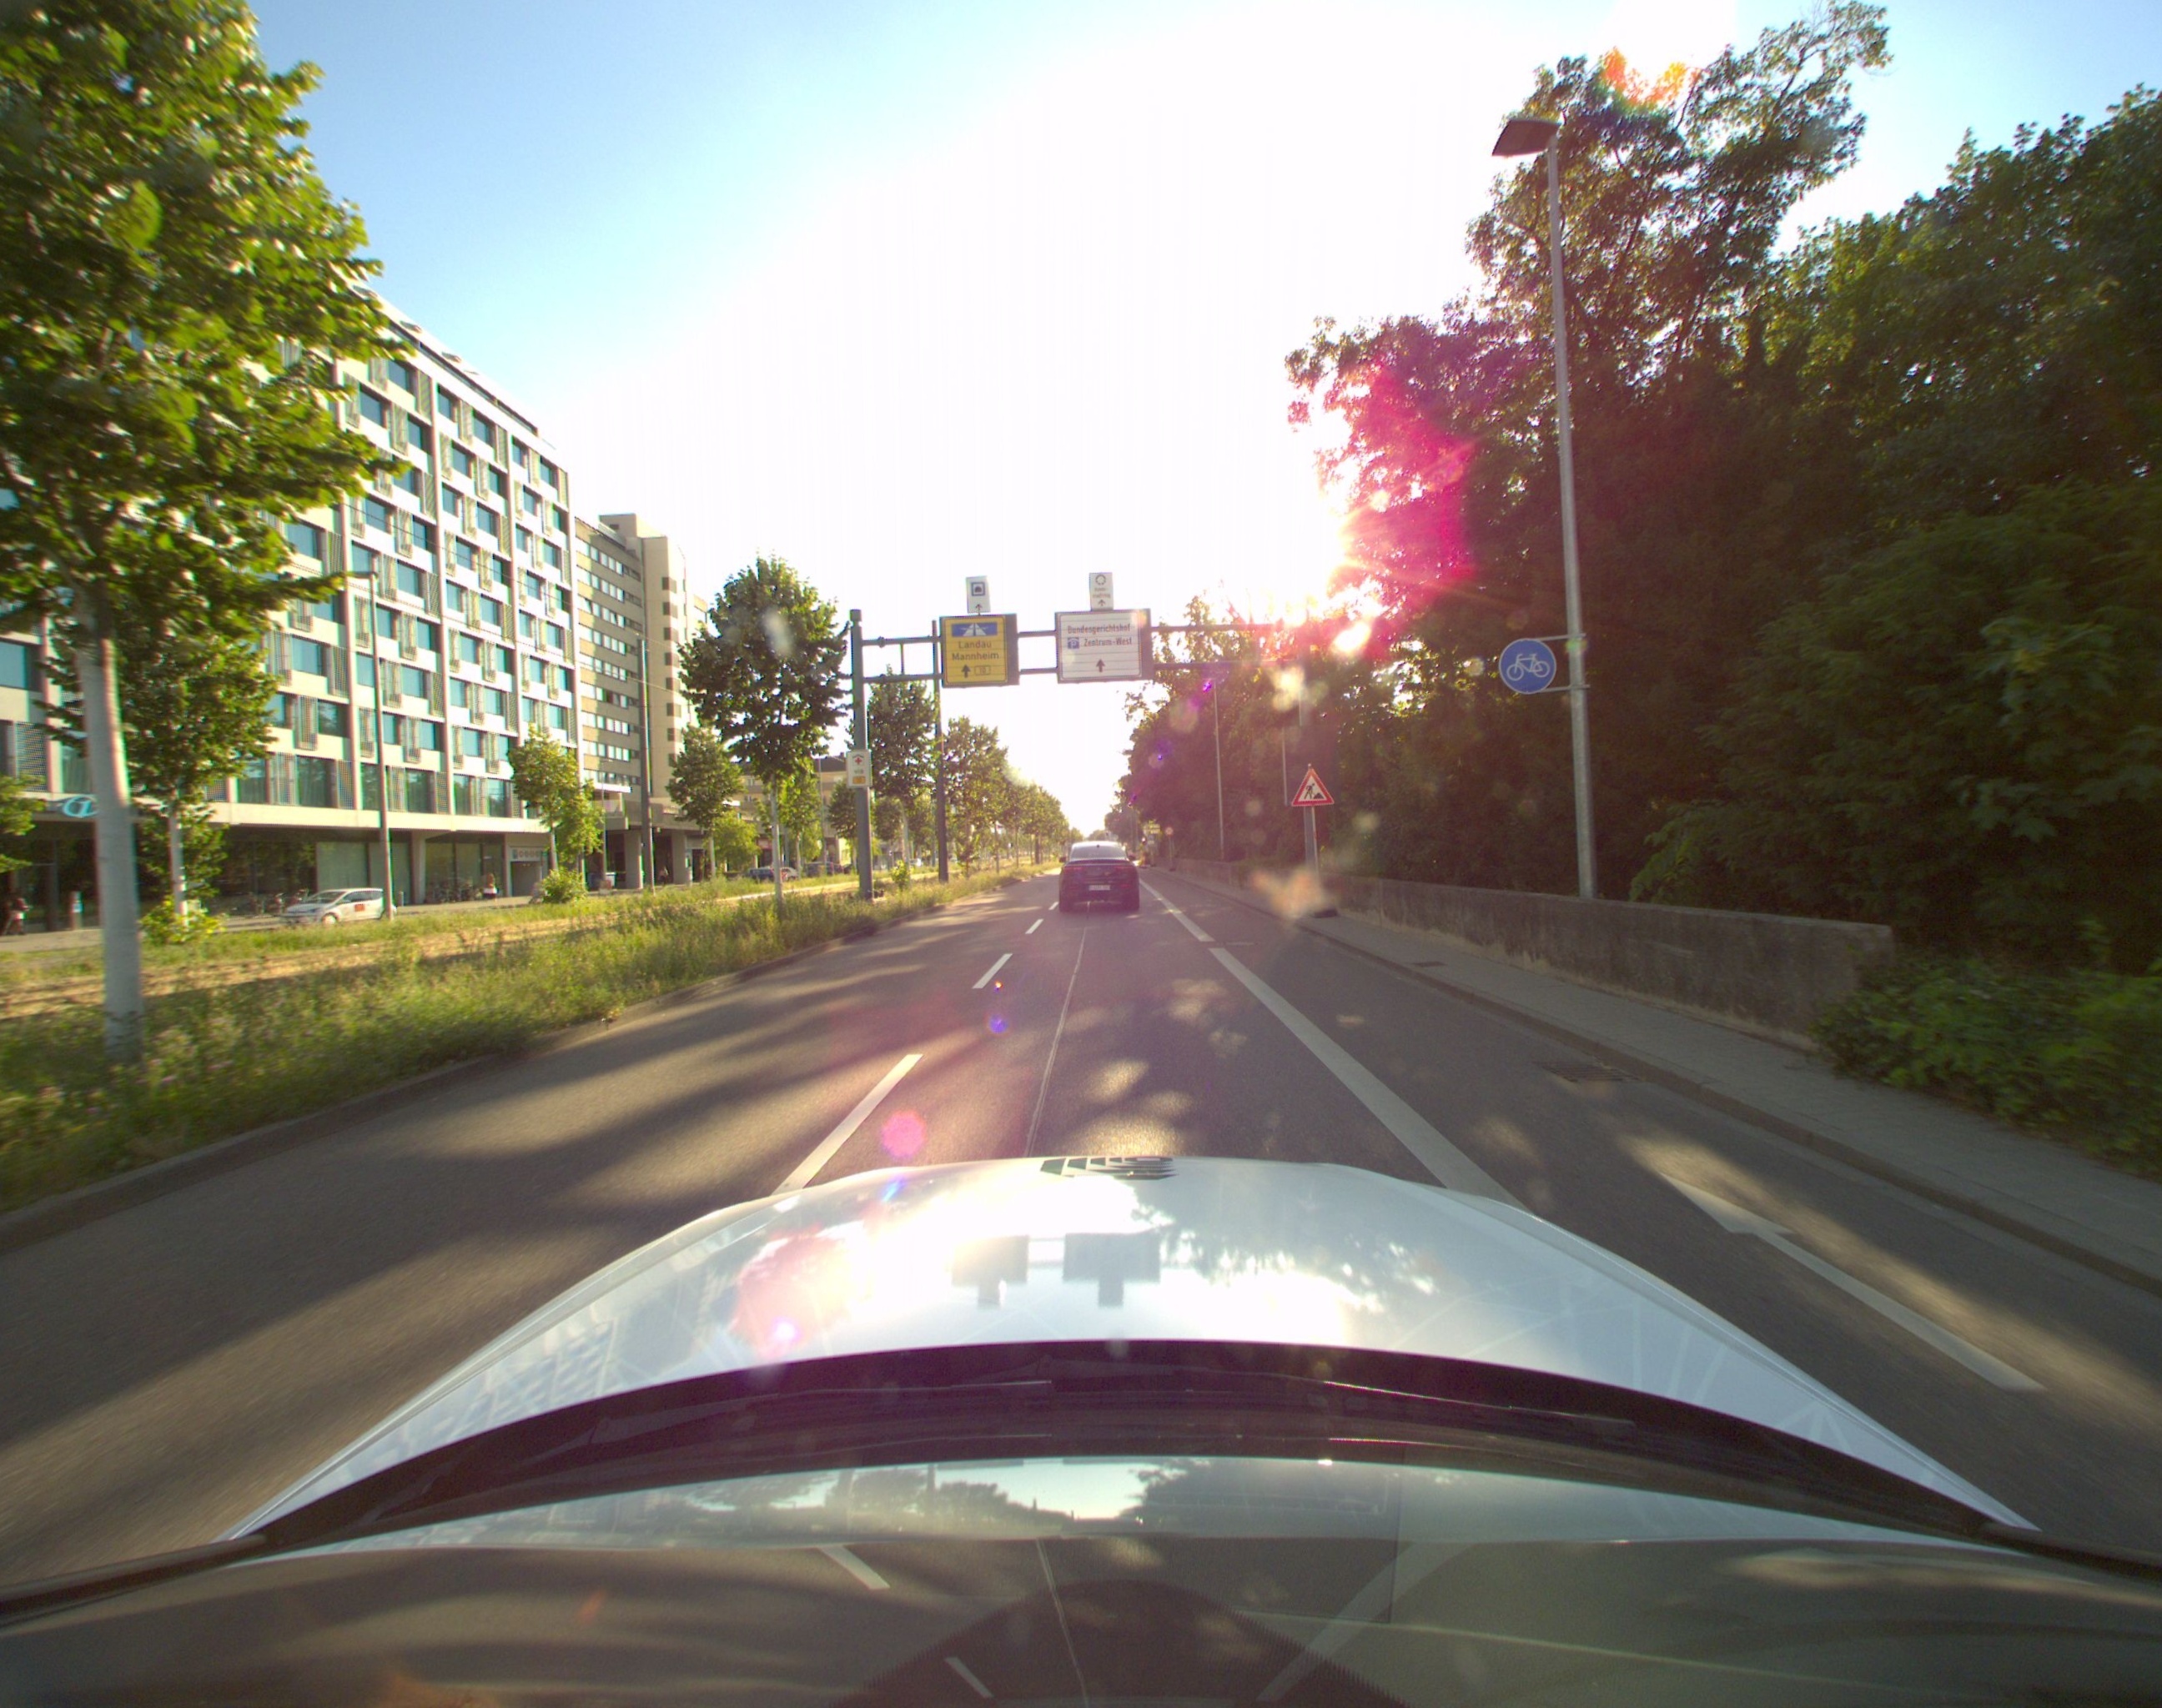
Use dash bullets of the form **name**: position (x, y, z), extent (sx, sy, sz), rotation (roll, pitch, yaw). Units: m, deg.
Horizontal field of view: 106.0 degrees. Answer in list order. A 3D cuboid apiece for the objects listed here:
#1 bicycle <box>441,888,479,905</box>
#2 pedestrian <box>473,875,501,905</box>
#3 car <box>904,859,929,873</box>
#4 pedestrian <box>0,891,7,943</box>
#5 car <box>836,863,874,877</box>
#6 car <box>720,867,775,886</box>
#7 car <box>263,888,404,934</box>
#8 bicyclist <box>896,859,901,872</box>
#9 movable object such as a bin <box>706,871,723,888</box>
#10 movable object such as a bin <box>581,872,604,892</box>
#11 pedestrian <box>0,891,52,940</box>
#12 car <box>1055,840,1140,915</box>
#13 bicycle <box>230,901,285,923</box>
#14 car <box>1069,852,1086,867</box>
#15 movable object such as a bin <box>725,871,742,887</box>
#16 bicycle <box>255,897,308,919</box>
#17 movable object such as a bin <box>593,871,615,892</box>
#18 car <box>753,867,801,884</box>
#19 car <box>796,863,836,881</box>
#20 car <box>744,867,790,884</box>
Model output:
- **bicycle**: position (-36.597, 2.493, 48.021), extent (1.799, 0.905, 0.511), rotation (-3, 0, -2)
- **pedestrian**: position (-35.069, 2.113, 48.117), extent (0.840, 1.653, 0.971), rotation (-2, 0, 3)
- **car**: position (-21.482, 1.559, 106.570), extent (1.877, 1.689, 5.094), rotation (-2, 0, 3)
- **pedestrian**: position (-39.661, 2.300, 29.389), extent (0.959, 1.870, 0.985), rotation (-2, 0, 34)
- **car**: position (-27.448, 1.905, 98.826), extent (4.021, 1.563, 1.976), rotation (-1, 0, -40)
- **car**: position (-29.371, 1.968, 71.790), extent (4.117, 1.601, 1.730), rotation (0, 0, -39)
- **car**: position (-29.795, 2.240, 32.635), extent (1.878, 1.492, 3.876), rotation (-2, 0, 3)
- **bicyclist**: position (-25.168, 1.561, 112.468), extent (0.538, 1.788, 0.857), rotation (-1, 0, -1)
- **movable object such as a bin**: position (-29.887, 2.077, 66.441), extent (0.851, 1.357, 0.944), rotation (-3, 0, 16)
- **movable object such as a bin**: position (-37.169, 2.105, 62.025), extent (0.797, 1.440, 1.403), rotation (-3, 0, 2)
- **pedestrian**: position (-38.382, 2.229, 29.493), extent (0.968, 1.670, 1.063), rotation (-2, 0, 16)
- **car**: position (0.440, 0.542, 21.438), extent (1.986, 1.734, 4.001), rotation (-2, 0, 1)
- **bicycle**: position (-37.316, 2.627, 36.907), extent (1.801, 0.905, 0.511), rotation (-3, 0, -5)
- **car**: position (-0.387, 0.649, 93.760), extent (1.879, 1.580, 4.001), rotation (-2, 1, 1)
- **movable object such as a bin**: position (-28.495, 2.047, 66.739), extent (0.851, 1.280, 0.944), rotation (-3, 0, 16)
- **bicycle**: position (-37.015, 2.514, 37.716), extent (1.801, 0.905, 0.511), rotation (-3, 0, -5)
- **movable object such as a bin**: position (-36.300, 2.086, 62.008), extent (0.797, 1.440, 1.403), rotation (-3, 0, 2)
- **car**: position (-29.246, 2.033, 78.421), extent (1.764, 1.453, 4.024), rotation (-1, 0, 43)
- **car**: position (-28.847, 1.898, 88.701), extent (3.777, 1.829, 1.804), rotation (-1, 0, -39)
- **car**: position (-29.149, 1.973, 75.564), extent (3.644, 1.523, 1.602), rotation (0, -1, -39)
